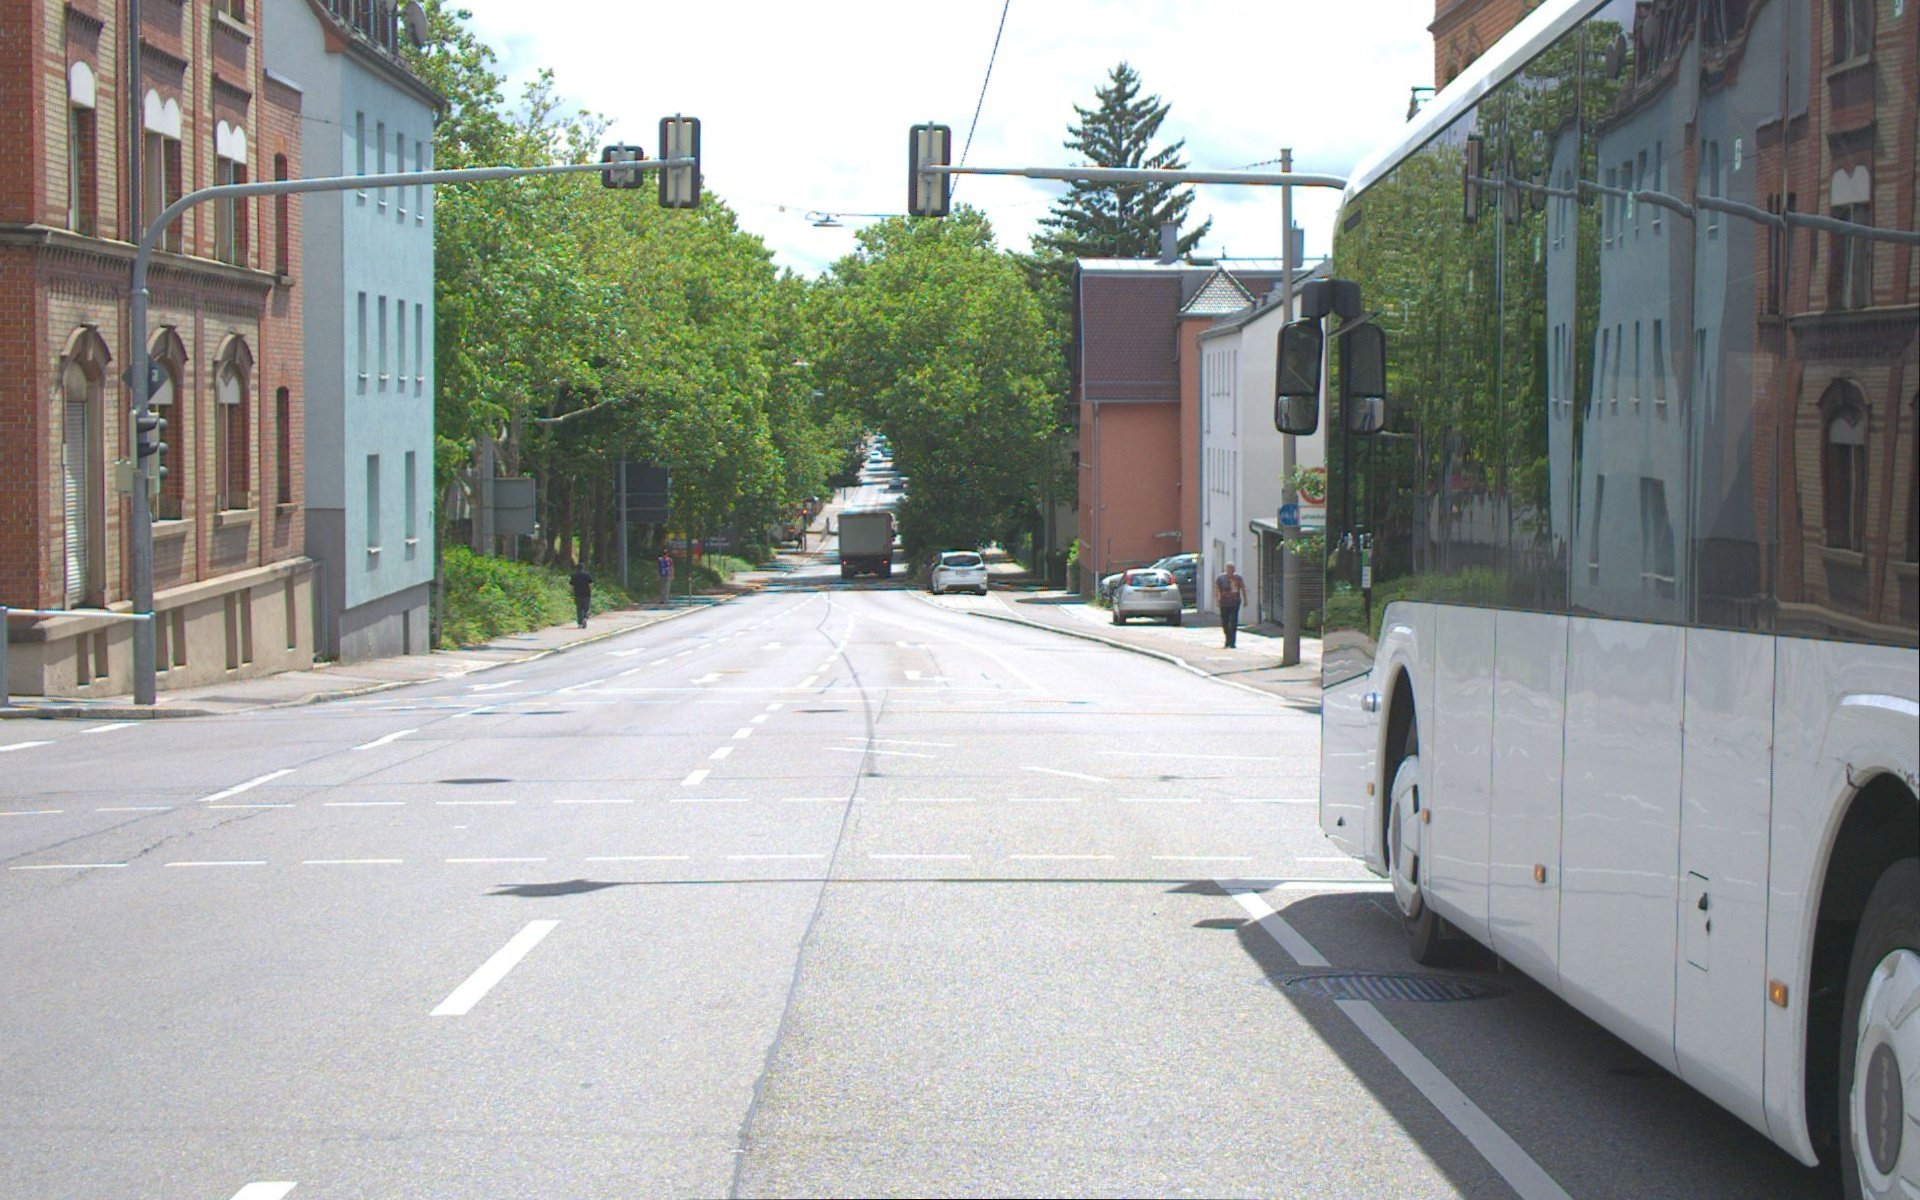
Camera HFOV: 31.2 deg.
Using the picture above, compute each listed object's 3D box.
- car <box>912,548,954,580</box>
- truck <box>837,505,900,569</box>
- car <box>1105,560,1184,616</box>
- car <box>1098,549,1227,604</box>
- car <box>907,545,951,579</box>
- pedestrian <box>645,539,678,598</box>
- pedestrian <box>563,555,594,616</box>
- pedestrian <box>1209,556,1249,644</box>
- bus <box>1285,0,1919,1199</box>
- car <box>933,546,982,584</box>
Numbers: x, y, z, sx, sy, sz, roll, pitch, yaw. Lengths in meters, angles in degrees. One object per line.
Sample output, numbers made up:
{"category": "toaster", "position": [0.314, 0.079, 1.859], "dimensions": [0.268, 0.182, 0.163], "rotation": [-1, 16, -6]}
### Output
{"category": "car", "position": [-1.204, -1.604, 153.937], "dimensions": [1.794, 1.405, 4.419], "rotation": [1, 1, 0]}
{"category": "truck", "position": [-4.621, -3.178, 172.991], "dimensions": [2.926, 3.070, 7.886], "rotation": [-1, 1, -3]}
{"category": "car", "position": [4.972, -0.340, 93.076], "dimensions": [1.794, 1.405, 4.001], "rotation": [-1, 1, -2]}
{"category": "car", "position": [6.646, -0.792, 113.175], "dimensions": [3.986, 1.751, 2.000], "rotation": [-1, 1, -5]}
{"category": "car", "position": [-1.303, -1.598, 145.830], "dimensions": [1.794, 1.405, 4.419], "rotation": [1, 1, 0]}
{"category": "pedestrian", "position": [-10.129, -1.077, 116.787], "dimensions": [0.995, 2.007, 1.189], "rotation": [-1, 1, -1]}
{"category": "pedestrian", "position": [-9.735, -0.370, 87.688], "dimensions": [0.729, 1.560, 0.561], "rotation": [0, 1, -1]}
{"category": "pedestrian", "position": [5.414, -0.009, 69.239], "dimensions": [0.738, 1.744, 0.619], "rotation": [-1, 1, -1]}
{"category": "bus", "position": [2.884, -0.173, 9.259], "dimensions": [2.672, 3.145, 12.462], "rotation": [1, 1, -1]}
{"category": "car", "position": [-0.113, -1.320, 129.489], "dimensions": [1.794, 1.405, 4.000], "rotation": [1, 1, -1]}
